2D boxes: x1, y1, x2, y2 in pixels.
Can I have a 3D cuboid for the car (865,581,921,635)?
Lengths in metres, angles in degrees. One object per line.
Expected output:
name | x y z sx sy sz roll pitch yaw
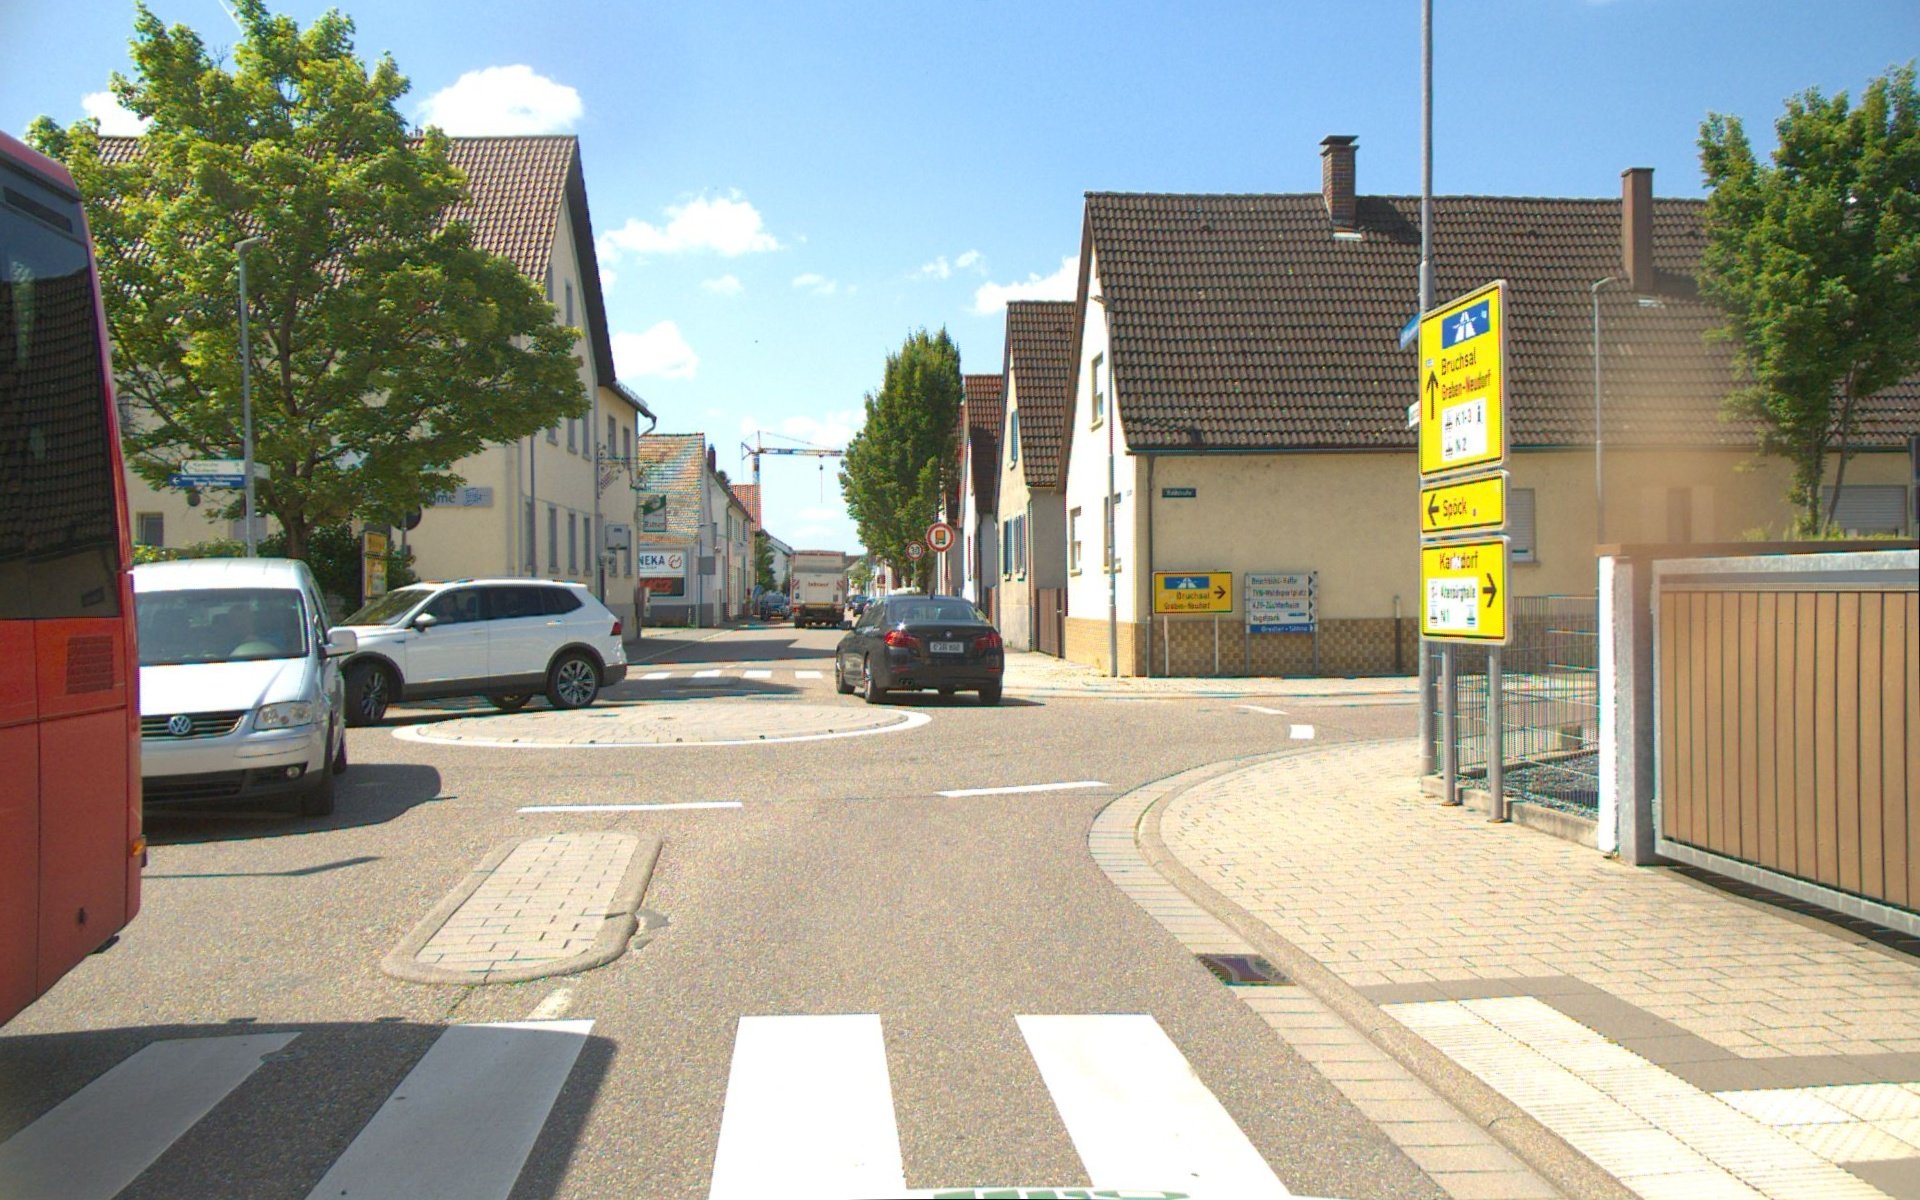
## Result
car | -2.442 0.279 59.404 1.686 1.821 4.138 -2 0 -6

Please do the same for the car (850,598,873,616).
car | -7.398 0.520 124.331 1.686 1.379 4.153 0 0 -4

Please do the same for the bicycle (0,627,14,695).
bicycle | -14.954 0.970 25.263 0.393 1.021 1.974 -1 2 -16

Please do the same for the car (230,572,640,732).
car | -6.357 0.549 20.405 1.840 1.740 4.512 -1 0 44

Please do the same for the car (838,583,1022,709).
car | -0.540 0.607 23.432 1.868 1.591 4.464 0 -1 -11

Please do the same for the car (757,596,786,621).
car | -12.466 0.549 109.638 1.774 1.617 3.996 0 0 -5

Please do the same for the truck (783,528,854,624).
truck | -6.788 -1.077 80.441 3.082 4.325 9.295 1 0 -3

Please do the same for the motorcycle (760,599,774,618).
motorcycle | -12.363 0.527 105.823 0.830 1.190 2.466 1 0 -6

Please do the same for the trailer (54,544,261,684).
trailer | -14.644 0.233 30.479 1.842 2.376 4.520 1 0 -4

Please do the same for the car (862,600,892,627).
car | -4.799 0.759 96.072 1.685 1.487 4.154 0 0 -3

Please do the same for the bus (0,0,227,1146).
bus | -3.526 -0.083 0.131 2.576 3.288 12.008 -3 1 -6

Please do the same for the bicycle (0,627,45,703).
bicycle | -14.536 0.978 25.415 0.393 1.021 1.974 -1 2 -16

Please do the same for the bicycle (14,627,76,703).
bicycle | -14.106 0.986 25.538 0.393 1.021 1.974 -1 2 -16

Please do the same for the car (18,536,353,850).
car | -5.571 0.563 12.412 1.745 1.853 4.417 -2 0 -19

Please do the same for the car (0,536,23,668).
car | -19.782 0.046 30.652 1.898 2.612 5.643 1 0 -4
